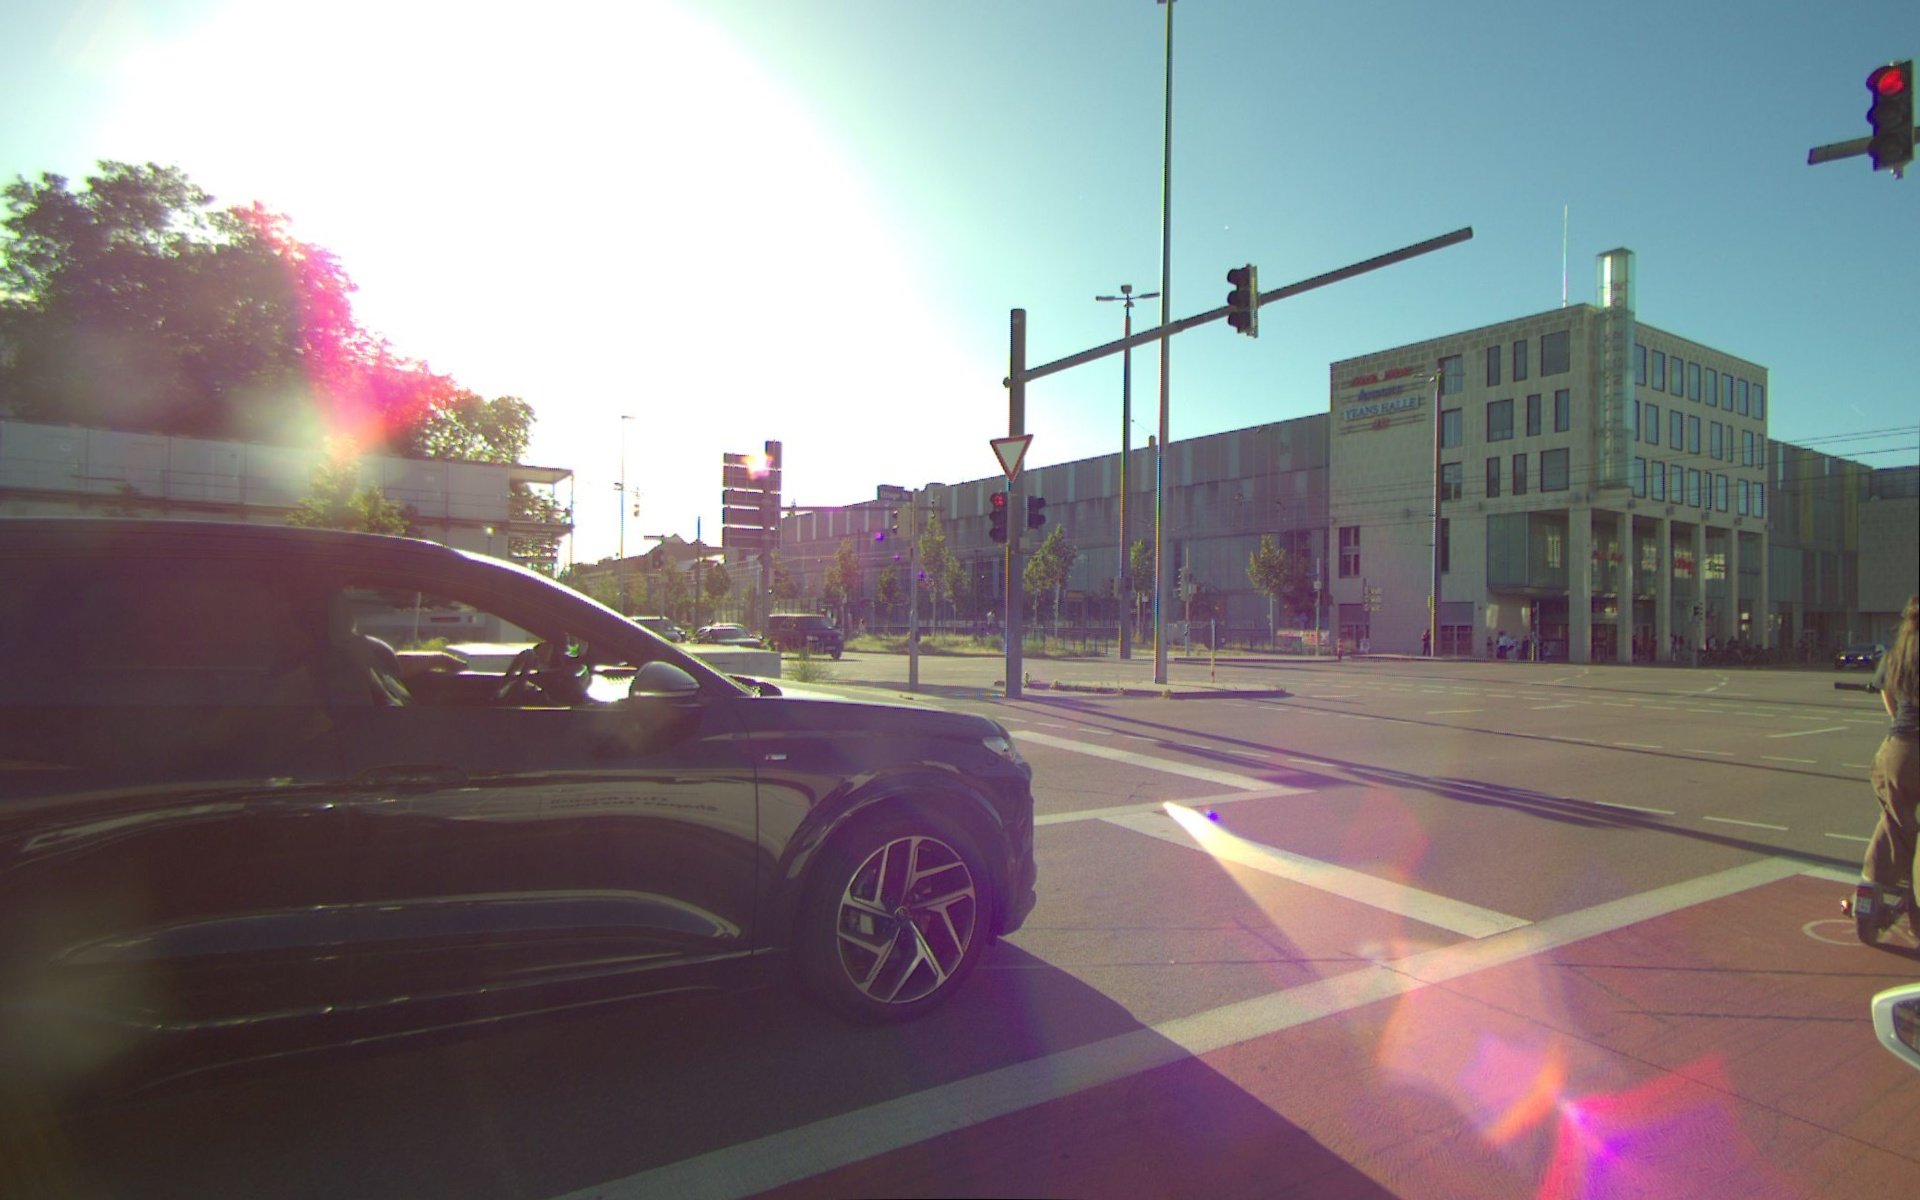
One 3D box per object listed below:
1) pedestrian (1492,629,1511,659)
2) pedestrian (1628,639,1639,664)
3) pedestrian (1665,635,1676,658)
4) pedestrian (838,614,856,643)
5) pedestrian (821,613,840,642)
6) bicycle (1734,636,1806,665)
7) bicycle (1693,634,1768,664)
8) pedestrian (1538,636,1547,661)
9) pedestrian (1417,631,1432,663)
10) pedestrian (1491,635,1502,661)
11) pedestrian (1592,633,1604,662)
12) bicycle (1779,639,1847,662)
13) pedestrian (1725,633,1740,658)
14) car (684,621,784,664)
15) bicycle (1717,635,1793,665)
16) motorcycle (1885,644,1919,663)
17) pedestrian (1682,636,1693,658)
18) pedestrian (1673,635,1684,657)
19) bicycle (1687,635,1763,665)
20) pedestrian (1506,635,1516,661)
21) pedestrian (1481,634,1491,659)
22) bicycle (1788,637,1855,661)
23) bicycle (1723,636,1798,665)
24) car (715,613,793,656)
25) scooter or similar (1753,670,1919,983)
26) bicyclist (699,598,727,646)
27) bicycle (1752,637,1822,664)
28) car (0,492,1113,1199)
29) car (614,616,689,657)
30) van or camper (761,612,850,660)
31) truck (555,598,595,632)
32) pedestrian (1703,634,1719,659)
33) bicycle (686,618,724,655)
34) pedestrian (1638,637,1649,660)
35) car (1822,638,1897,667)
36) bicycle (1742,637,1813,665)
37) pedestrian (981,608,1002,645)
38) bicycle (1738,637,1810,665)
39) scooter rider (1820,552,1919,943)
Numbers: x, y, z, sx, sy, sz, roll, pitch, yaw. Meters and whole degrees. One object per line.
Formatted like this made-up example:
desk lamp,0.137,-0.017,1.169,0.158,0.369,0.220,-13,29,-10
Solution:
pedestrian,32.351,2.626,60.047,0.729,1.822,0.752,1,-1,-34
pedestrian,44.255,3.403,66.011,0.508,1.606,0.479,1,-1,-34
pedestrian,49.194,3.224,69.539,0.508,1.530,0.479,1,-1,-34
pedestrian,-7.179,1.800,63.819,0.889,1.855,0.787,1,-1,-35
pedestrian,-8.441,1.787,65.283,0.892,1.855,0.785,3,-2,-43
bicycle,51.118,3.185,63.424,0.979,1.719,3.462,1,-2,-40
bicycle,46.582,2.954,60.802,1.107,1.719,3.465,1,-2,-38
pedestrian,34.811,2.887,60.068,0.382,1.445,0.500,0,-1,41
pedestrian,24.754,2.497,53.510,0.543,1.716,0.521,1,-1,-40
pedestrian,32.799,2.921,61.385,0.452,1.586,0.420,1,-1,-30
pedestrian,36.587,2.735,57.581,0.532,1.664,0.549,0,-1,28
bicycle,58.873,3.473,69.389,0.979,1.547,3.462,2,-2,-40
pedestrian,52.590,3.114,68.413,0.689,1.664,0.648,1,-1,-38
car,-9.399,1.704,41.511,2.313,1.671,4.821,1,-2,-37
bicycle,48.214,3.008,60.938,1.107,1.719,3.465,1,-2,-38
motorcycle,70.745,4.010,75.085,0.713,1.335,2.260,1,-2,-34
pedestrian,52.084,3.359,71.915,0.592,1.606,0.479,1,-1,-34
pedestrian,51.790,3.326,72.438,0.592,1.606,0.479,1,-1,-34
bicycle,45.698,2.972,60.032,1.107,1.719,3.465,1,-2,-38
pedestrian,33.683,2.929,61.389,0.453,1.547,0.418,1,-1,-37
pedestrian,32.283,2.861,61.611,0.454,1.521,0.418,1,-1,-41
bicycle,60.380,3.428,70.471,0.979,1.547,3.462,2,-2,-40
bicycle,49.143,3.075,61.739,1.107,1.719,3.465,1,-2,-38
car,-10.391,1.695,50.416,1.981,2.040,4.821,1,-2,-36
scooter or similar,4.520,0.970,4.699,1.645,1.218,0.725,1,-1,-30
bicyclist,-13.800,1.231,56.025,1.007,2.677,1.610,1,-1,-34
bicycle,54.504,3.315,66.253,0.979,1.719,3.462,1,-2,-40
car,-1.849,0.623,3.468,4.565,1.666,1.922,1,-1,-32
car,-14.831,1.704,48.142,1.981,1.849,4.821,1,-2,-36
van or camper,-7.026,1.588,45.294,1.981,2.040,4.821,1,-2,-36
truck,-33.481,1.327,87.248,1.979,2.875,6.293,1,-2,-33
pedestrian,51.277,3.156,68.549,0.772,1.664,0.694,0,-1,28
bicycle,-14.599,2.043,57.395,1.007,2.040,3.472,1,-2,-33
pedestrian,45.018,3.201,66.155,0.508,1.530,0.479,1,-1,-34
car,49.754,2.894,55.557,3.953,1.505,1.984,1,-1,-30
bicycle,52.858,3.253,64.962,0.979,1.719,3.462,1,-2,-40
pedestrian,1.583,1.324,50.592,0.788,1.855,0.706,1,-1,-37
bicycle,51.944,3.222,64.158,0.979,1.719,3.462,1,-2,-40
scooter rider,4.774,0.687,4.843,0.801,1.798,0.725,1,-1,-30
